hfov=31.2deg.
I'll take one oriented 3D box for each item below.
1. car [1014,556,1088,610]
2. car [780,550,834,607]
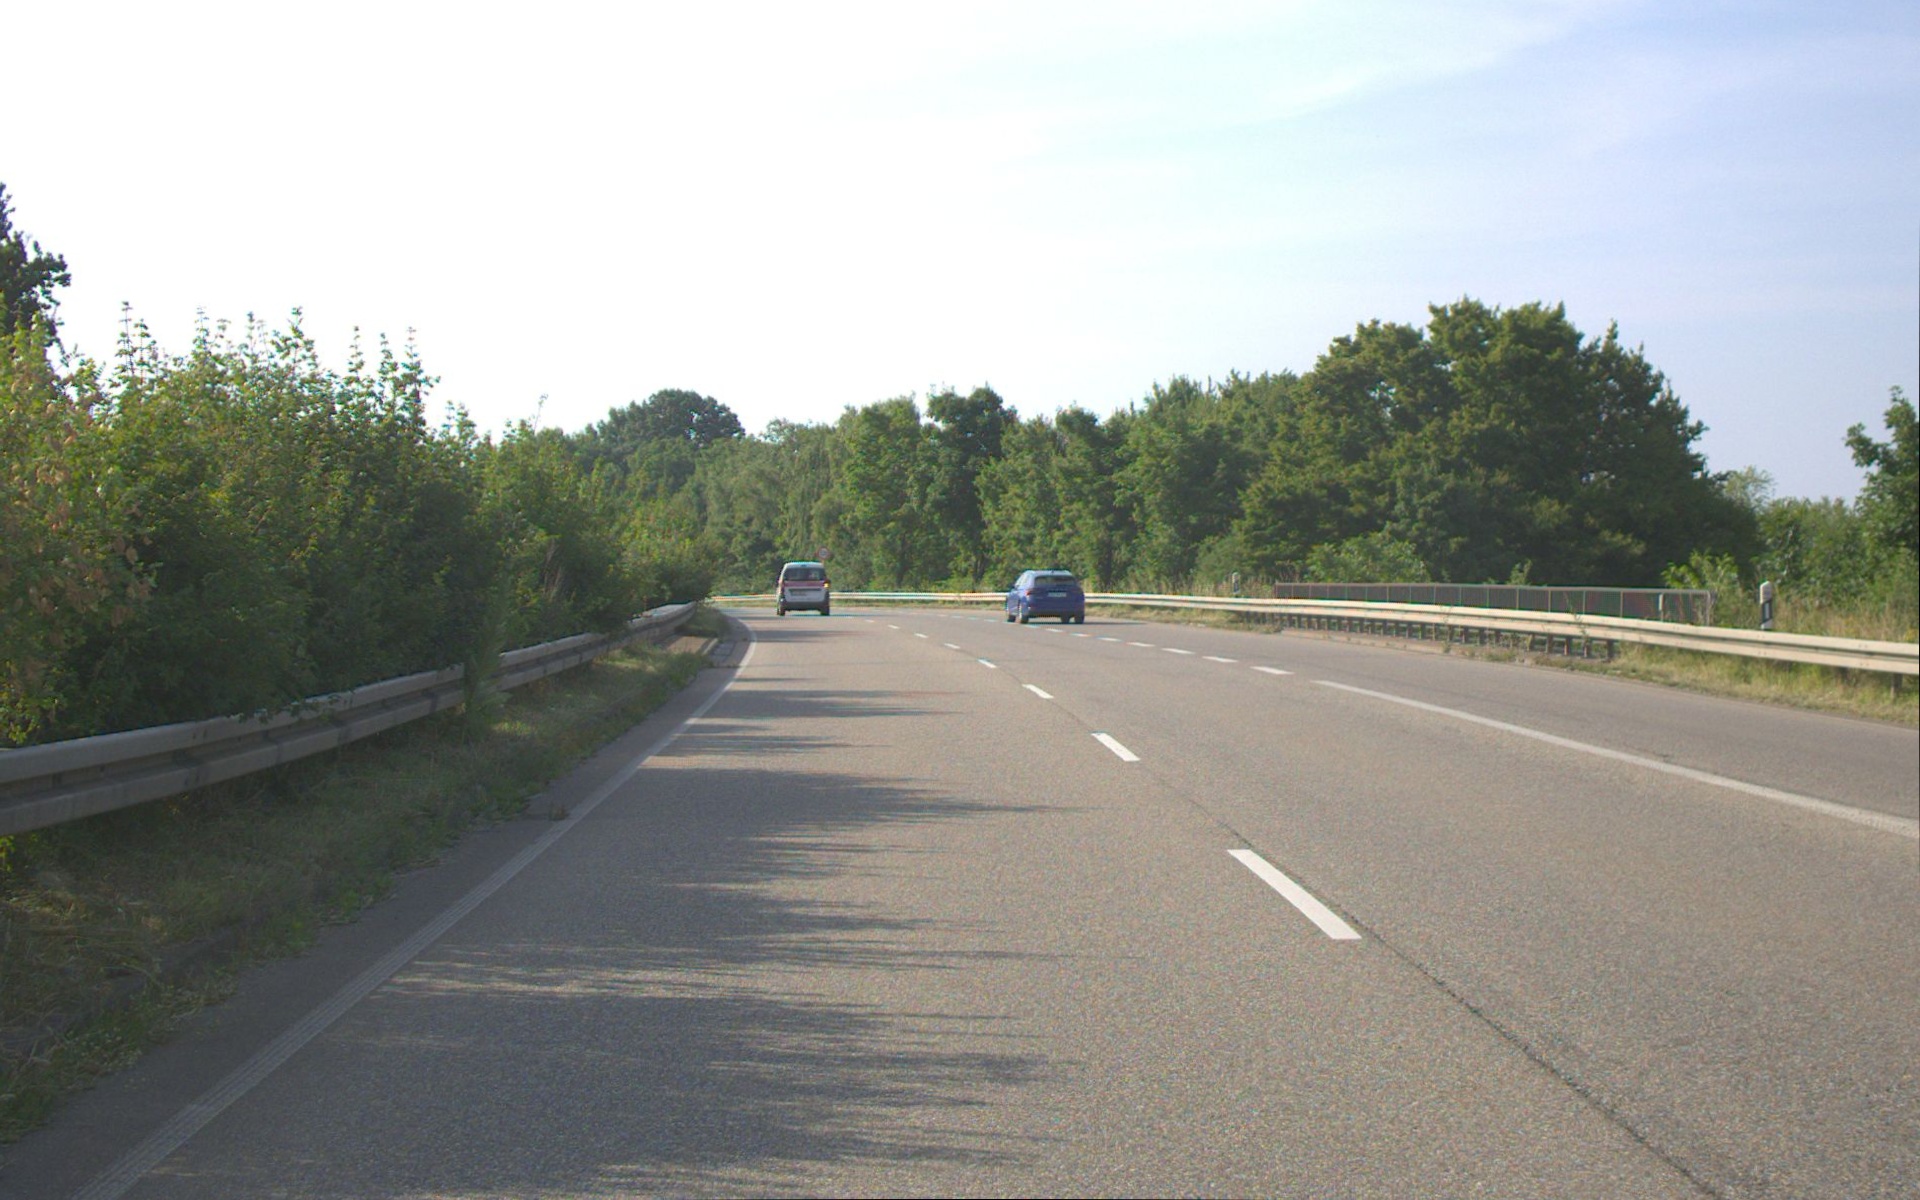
[{"bbox_3d":[2.490,-0.461,94.944,1.779,1.447,4.000,0,0,-2],"label":"car"},{"bbox_3d":[-5.167,-0.734,116.759,1.765,1.875,4.000,0,0,-2],"label":"car"}]
